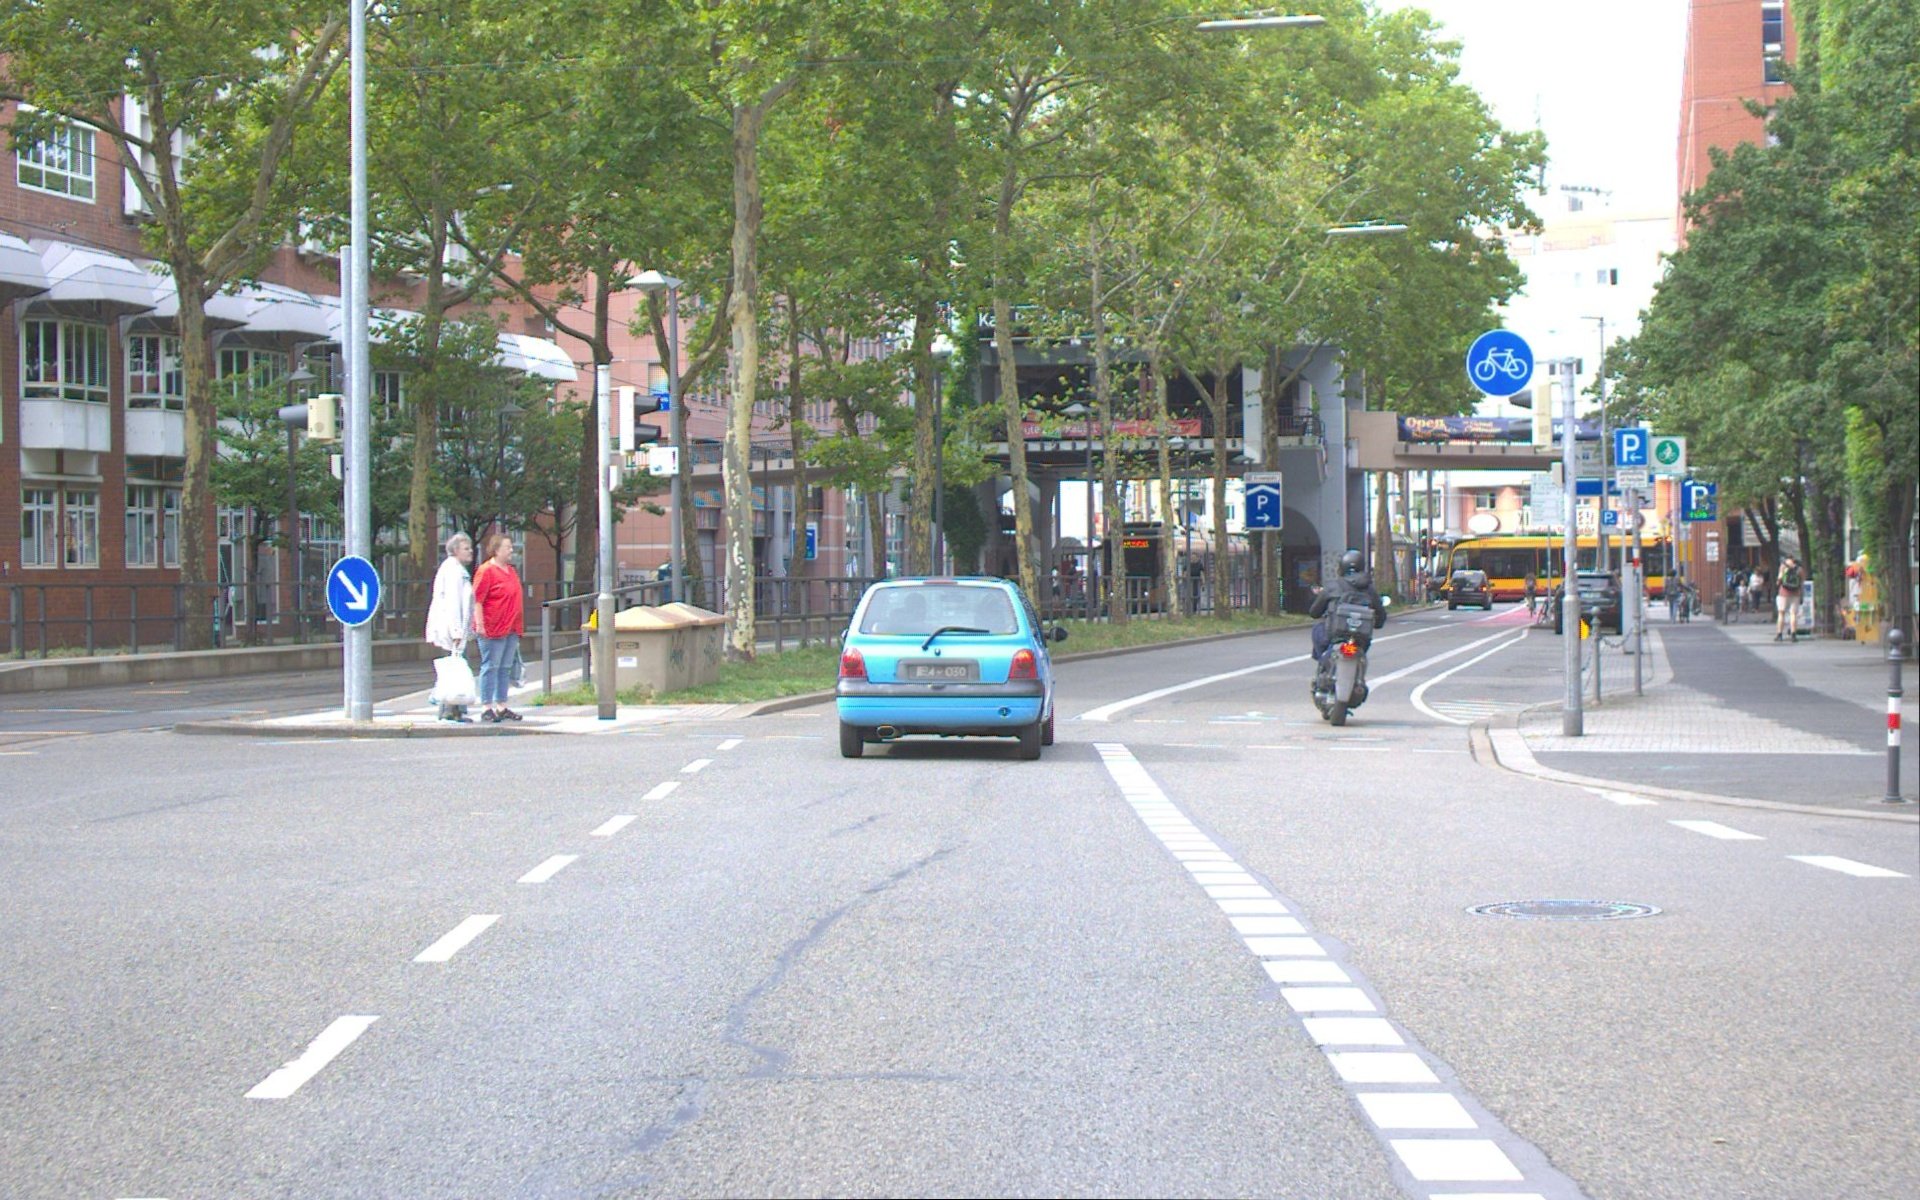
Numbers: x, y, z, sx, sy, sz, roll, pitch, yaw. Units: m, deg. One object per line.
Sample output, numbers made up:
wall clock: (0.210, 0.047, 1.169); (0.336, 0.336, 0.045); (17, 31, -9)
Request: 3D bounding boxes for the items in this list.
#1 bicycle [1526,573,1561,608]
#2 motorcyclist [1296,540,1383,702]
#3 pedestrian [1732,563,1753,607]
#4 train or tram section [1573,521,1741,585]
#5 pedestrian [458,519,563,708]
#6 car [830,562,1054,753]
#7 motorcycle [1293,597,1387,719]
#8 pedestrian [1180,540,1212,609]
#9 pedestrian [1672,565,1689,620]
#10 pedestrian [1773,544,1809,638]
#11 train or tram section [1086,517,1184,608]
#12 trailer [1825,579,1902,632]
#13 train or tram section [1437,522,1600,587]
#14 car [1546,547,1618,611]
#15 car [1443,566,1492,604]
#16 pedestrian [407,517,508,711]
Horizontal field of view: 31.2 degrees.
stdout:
bicycle: (17.144, -0.277, 100.989); (0.563, 1.005, 2.009); (0, 1, -4)
motorcyclist: (3.623, 0.194, 32.871); (0.759, 1.514, 1.017); (-1, 0, 4)
pedestrian: (28.205, -0.540, 123.891); (0.669, 1.556, 0.728); (0, 1, 7)
train or tram section: (36.329, -2.448, 179.151); (8.330, 3.242, 2.397); (-1, 0, -14)
pedestrian: (-4.138, 0.118, 31.689); (0.553, 1.712, 0.889); (0, 1, 27)
car: (-0.084, 0.407, 27.564); (1.640, 1.381, 3.843); (0, 1, 2)
motorcycle: (3.626, 0.535, 32.949); (0.767, 1.103, 2.208); (-1, 0, 3)
pedestrian: (6.346, -0.689, 92.279); (0.728, 1.852, 0.870); (0, 1, 12)
pedestrian: (23.177, -0.249, 110.558); (0.510, 1.753, 0.539); (-1, 0, 11)
pedestrian: (16.528, -0.181, 68.384); (0.647, 1.852, 0.782); (0, 1, 10)
train or tram section: (6.524, -1.386, 127.227); (2.390, 3.242, 8.814); (-1, 0, 11)
trailer: (18.384, 0.103, 69.942); (0.993, 1.055, 1.606); (0, 1, 36)
train or tram section: (28.579, -2.341, 175.667); (8.789, 3.242, 2.397); (-1, 0, -32)
car: (16.063, -0.557, 88.656); (1.700, 1.596, 3.998); (0, 1, 12)
car: (22.315, -0.662, 151.152); (1.887, 1.618, 3.998); (0, 1, 12)
pedestrian: (-4.498, 0.121, 30.802); (0.553, 1.712, 0.890); (0, 1, 18)
